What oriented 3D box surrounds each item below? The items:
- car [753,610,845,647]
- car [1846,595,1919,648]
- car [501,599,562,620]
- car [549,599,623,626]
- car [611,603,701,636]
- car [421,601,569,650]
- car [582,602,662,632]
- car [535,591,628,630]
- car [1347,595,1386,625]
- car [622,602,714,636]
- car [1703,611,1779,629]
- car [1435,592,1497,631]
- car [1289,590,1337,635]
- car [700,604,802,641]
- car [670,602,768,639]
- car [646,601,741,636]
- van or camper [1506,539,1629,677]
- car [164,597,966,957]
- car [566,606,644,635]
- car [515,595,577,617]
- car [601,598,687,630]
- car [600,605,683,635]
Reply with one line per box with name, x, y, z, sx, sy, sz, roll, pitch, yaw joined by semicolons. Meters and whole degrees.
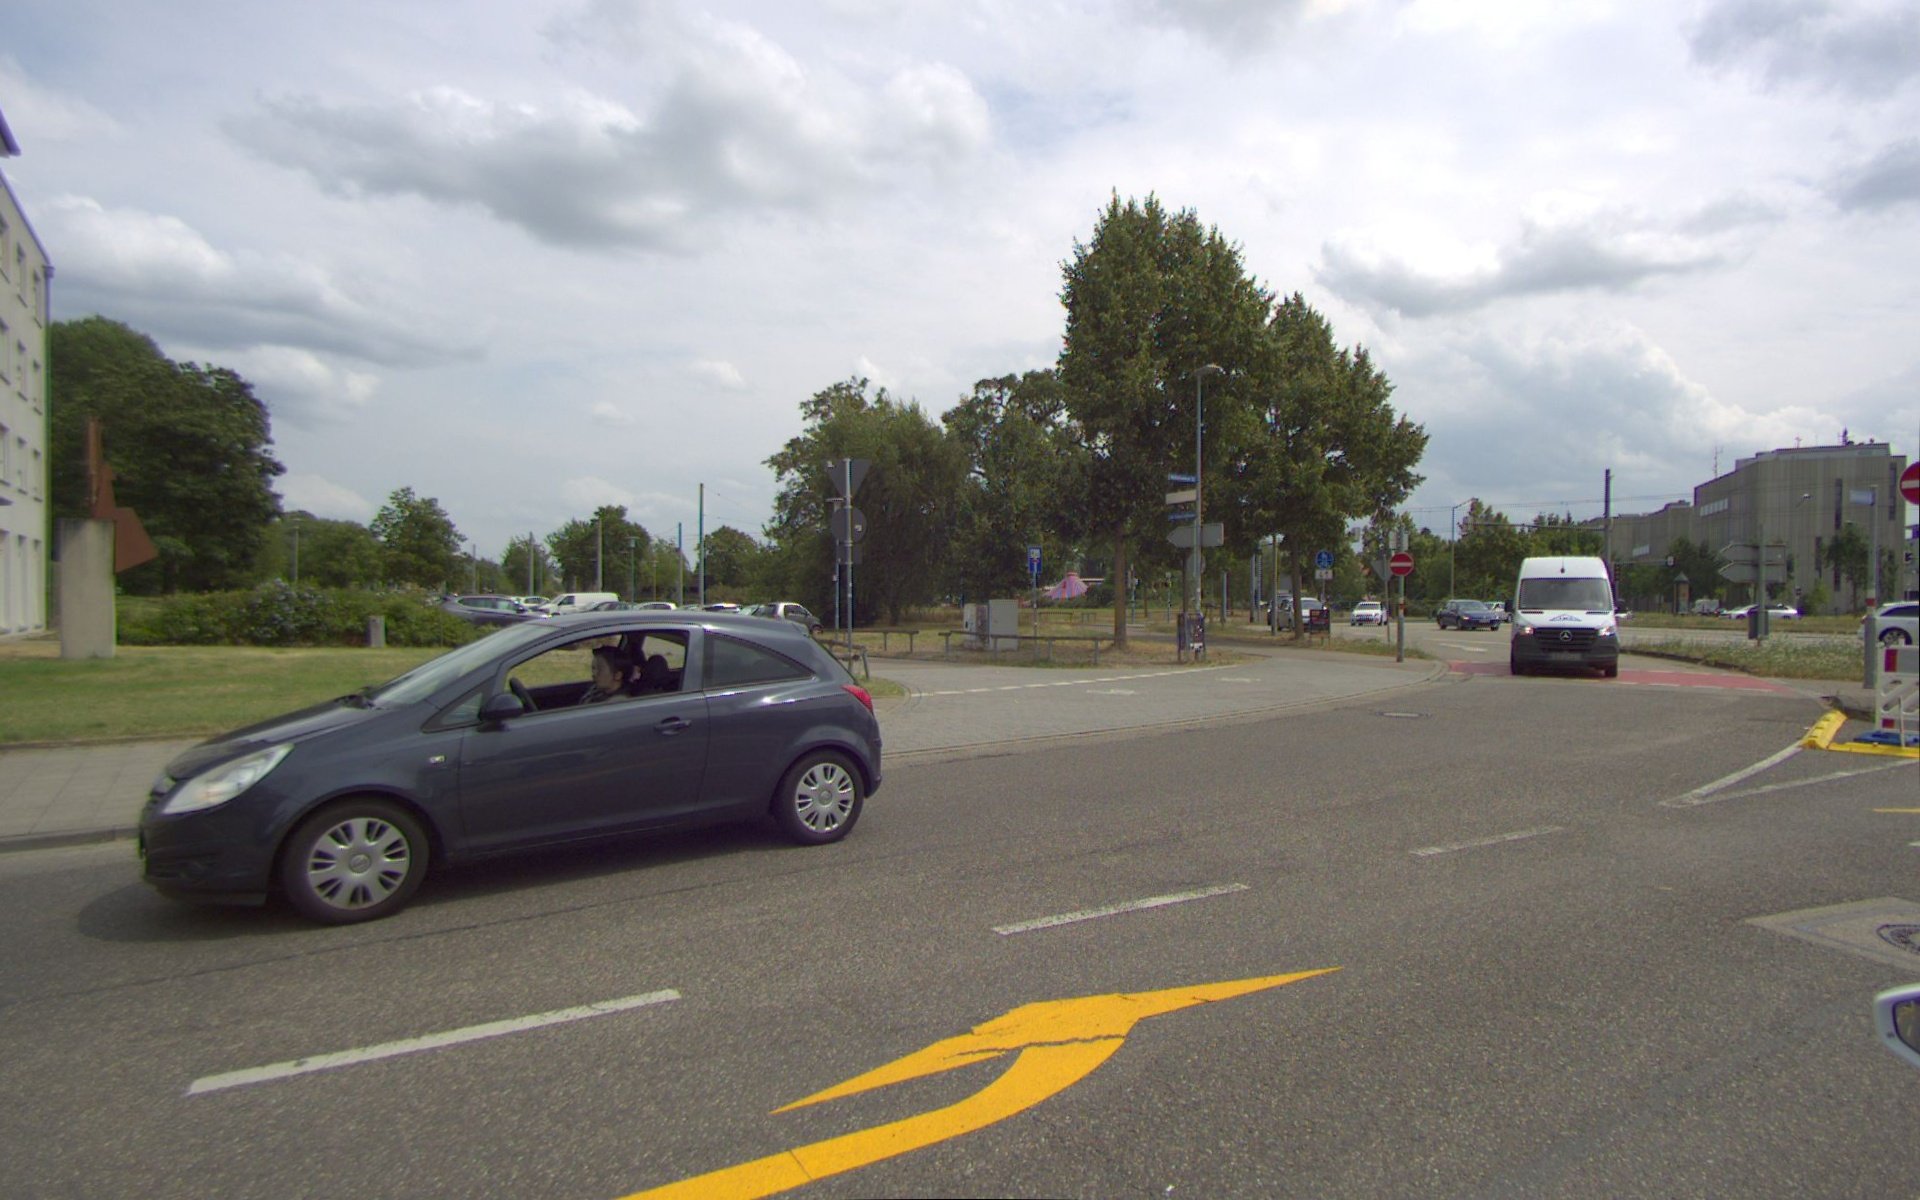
car;-6.967;1.222;43.616;3.604;1.497;1.646;-1;0;-40
car;29.861;0.655;29.839;1.843;1.600;5.003;0;1;-30
car;-33.736;0.743;79.049;4.102;1.612;1.795;-1;0;-38
car;-24.004;0.803;64.500;4.102;1.612;1.795;-1;0;-38
car;-15.661;1.004;51.882;4.102;1.612;1.795;-1;0;-38
car;-16.039;0.849;34.732;4.404;1.529;1.797;-1;0;-35
car;-19.751;0.974;58.800;4.102;1.612;1.795;-1;0;-38
car;-25.280;0.701;67.220;5.495;2.499;2.084;-1;0;-38
car;24.986;0.626;61.706;1.736;1.795;3.993;-1;-1;29
car;-14.607;0.924;50.350;4.102;1.612;1.795;-1;0;-38
car;55.740;1.441;71.788;3.922;1.208;1.686;-1;-1;20
car;24.875;0.570;49.499;1.960;1.795;4.002;-1;-1;16
car;17.053;0.609;48.676;1.960;2.040;4.001;-1;-1;17
car;-9.295;0.967;44.820;4.096;1.529;1.798;-1;0;-34
car;-11.232;0.941;46.963;4.102;1.612;1.795;-1;0;-38
car;-12.935;0.888;48.791;4.102;1.612;1.795;-1;0;-38
van or camper;14.033;0.188;23.336;2.119;2.761;6.264;-1;-1;30
car;-2.158;0.759;6.173;4.217;1.498;1.759;0;-1;-37
car;-21.320;1.212;60.405;4.102;1.612;1.795;-1;0;-38
car;-31.800;0.462;77.256;4.102;1.612;1.795;-1;0;-38
car;-16.990;0.751;54.072;4.102;1.612;1.795;-1;0;-38
car;-18.004;1.099;56.863;4.102;1.612;1.795;-1;0;-38
